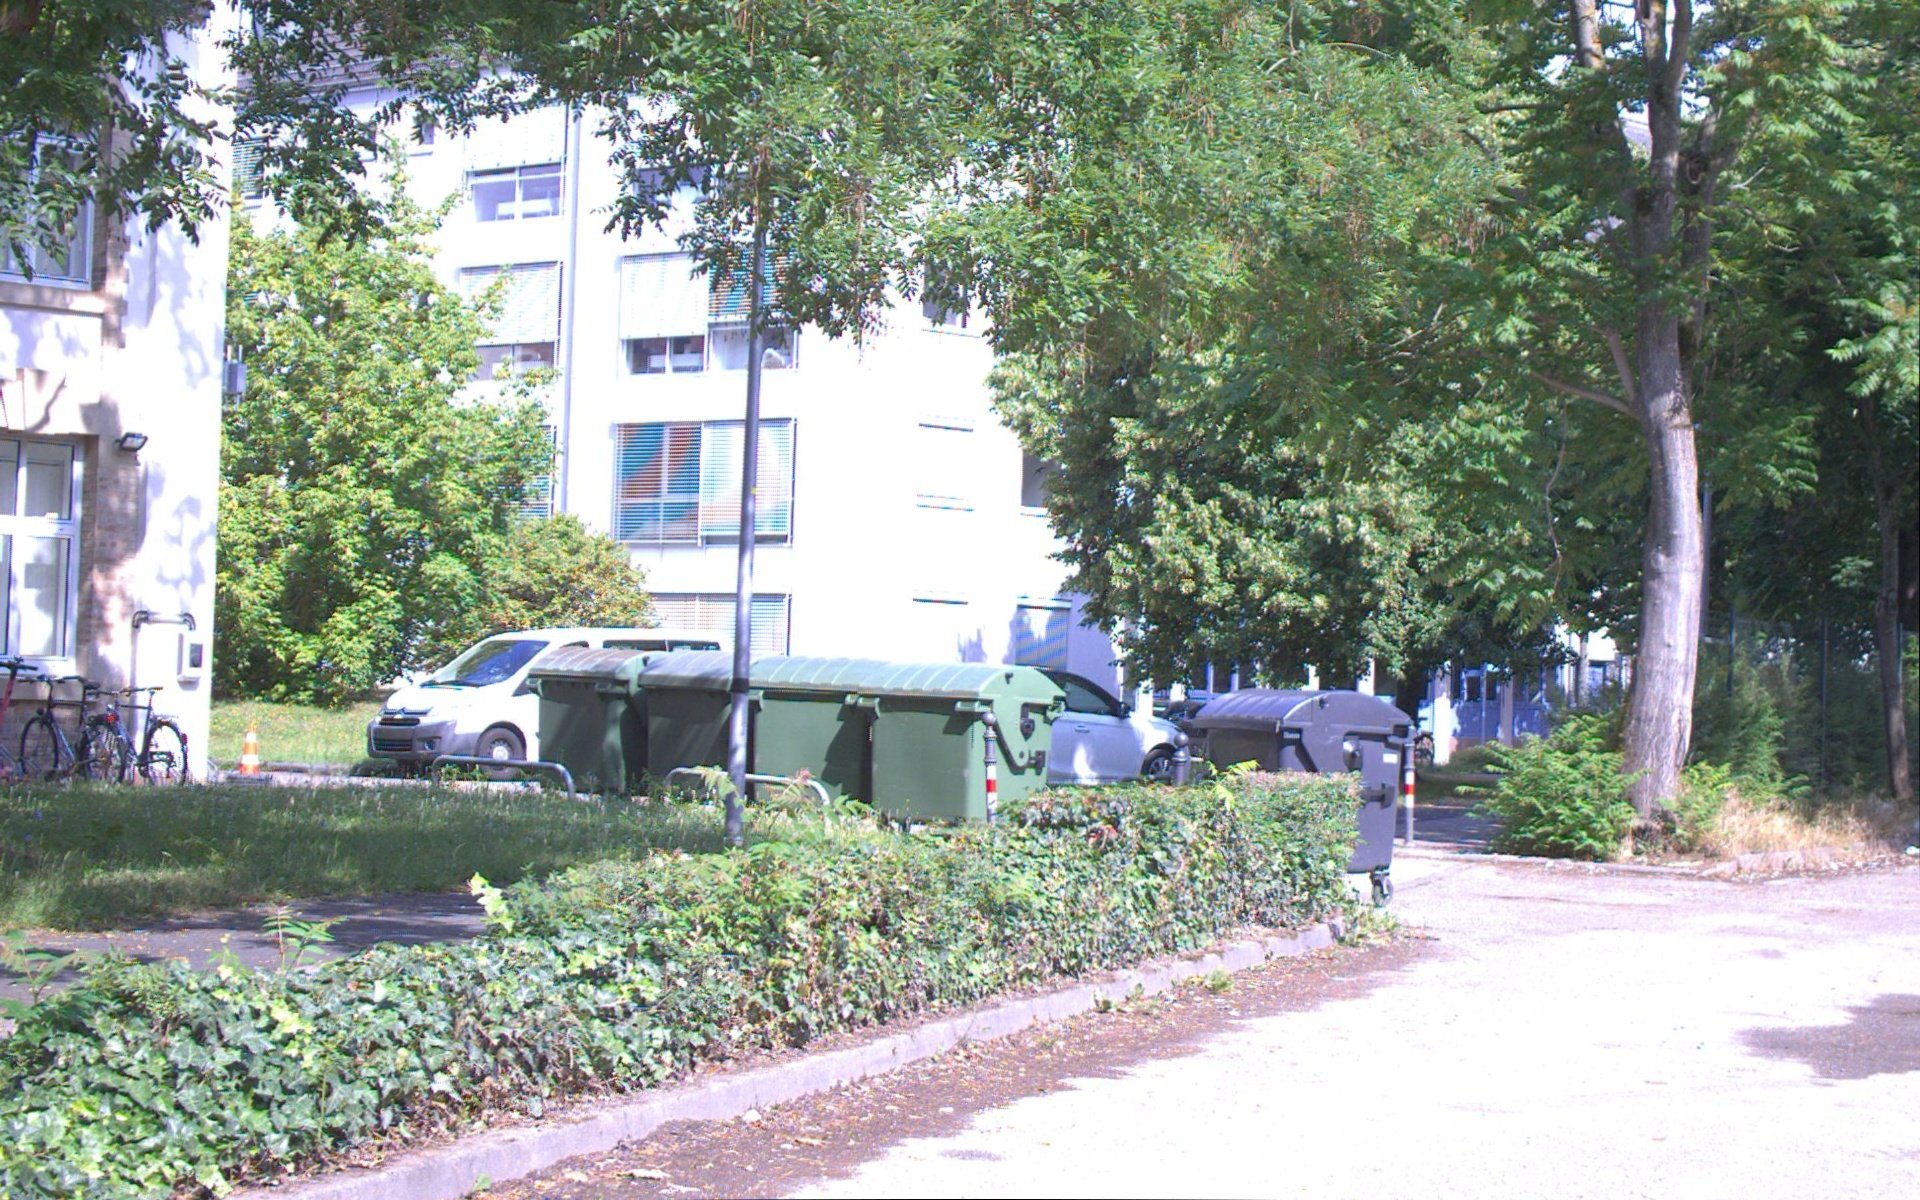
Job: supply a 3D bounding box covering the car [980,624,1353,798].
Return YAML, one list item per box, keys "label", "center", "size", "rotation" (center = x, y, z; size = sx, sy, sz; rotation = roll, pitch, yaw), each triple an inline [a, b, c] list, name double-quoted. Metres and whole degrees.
- label: "car"
  center: [2.215, 1.121, 36.149]
  size: [1.758, 1.415, 3.907]
  rotation: [2, 5, 45]

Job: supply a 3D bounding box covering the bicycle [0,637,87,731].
- label: "bicycle"
  center: [-8.193, 0.723, 30.112]
  size: [0.319, 0.703, 1.859]
  rotation: [-1, 3, -39]

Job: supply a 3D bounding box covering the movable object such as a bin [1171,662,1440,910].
- label: "movable object such as a bin"
  center: [2.311, 1.222, 23.141]
  size: [1.245, 1.476, 1.297]
  rotation: [0, 5, -25]

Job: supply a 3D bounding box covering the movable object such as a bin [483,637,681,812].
- label: "movable object such as a bin"
  center: [-3.182, 1.028, 28.934]
  size: [1.380, 1.344, 0.944]
  rotation: [3, 3, 39]

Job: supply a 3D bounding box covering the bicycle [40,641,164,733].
- label: "bicycle"
  center: [-7.647, 0.762, 30.581]
  size: [0.319, 0.703, 1.859]
  rotation: [-1, 3, -39]

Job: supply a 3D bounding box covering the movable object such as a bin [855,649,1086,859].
- label: "movable object such as a bin"
  center: [0.080, 1.143, 26.118]
  size: [1.342, 1.446, 1.100]
  rotation: [3, 3, 39]

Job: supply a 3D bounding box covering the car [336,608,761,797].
- label: "car"
  center: [-5.032, 1.201, 42.558]
  size: [4.942, 1.958, 1.999]
  rotation: [-4, 3, -43]

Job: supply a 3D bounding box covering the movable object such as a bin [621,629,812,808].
- label: "movable object such as a bin"
  center: [-1.985, 0.946, 28.011]
  size: [1.233, 1.344, 0.944]
  rotation: [3, 3, 39]

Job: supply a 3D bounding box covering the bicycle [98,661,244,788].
- label: "bicycle"
  center: [-7.130, 1.111, 31.032]
  size: [1.858, 1.033, 0.319]
  rotation: [2, 2, 44]

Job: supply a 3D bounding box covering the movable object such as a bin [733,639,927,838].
- label: "movable object such as a bin"
  center: [-1.023, 1.067, 27.036]
  size: [1.233, 1.446, 0.878]
  rotation: [3, 3, 39]
